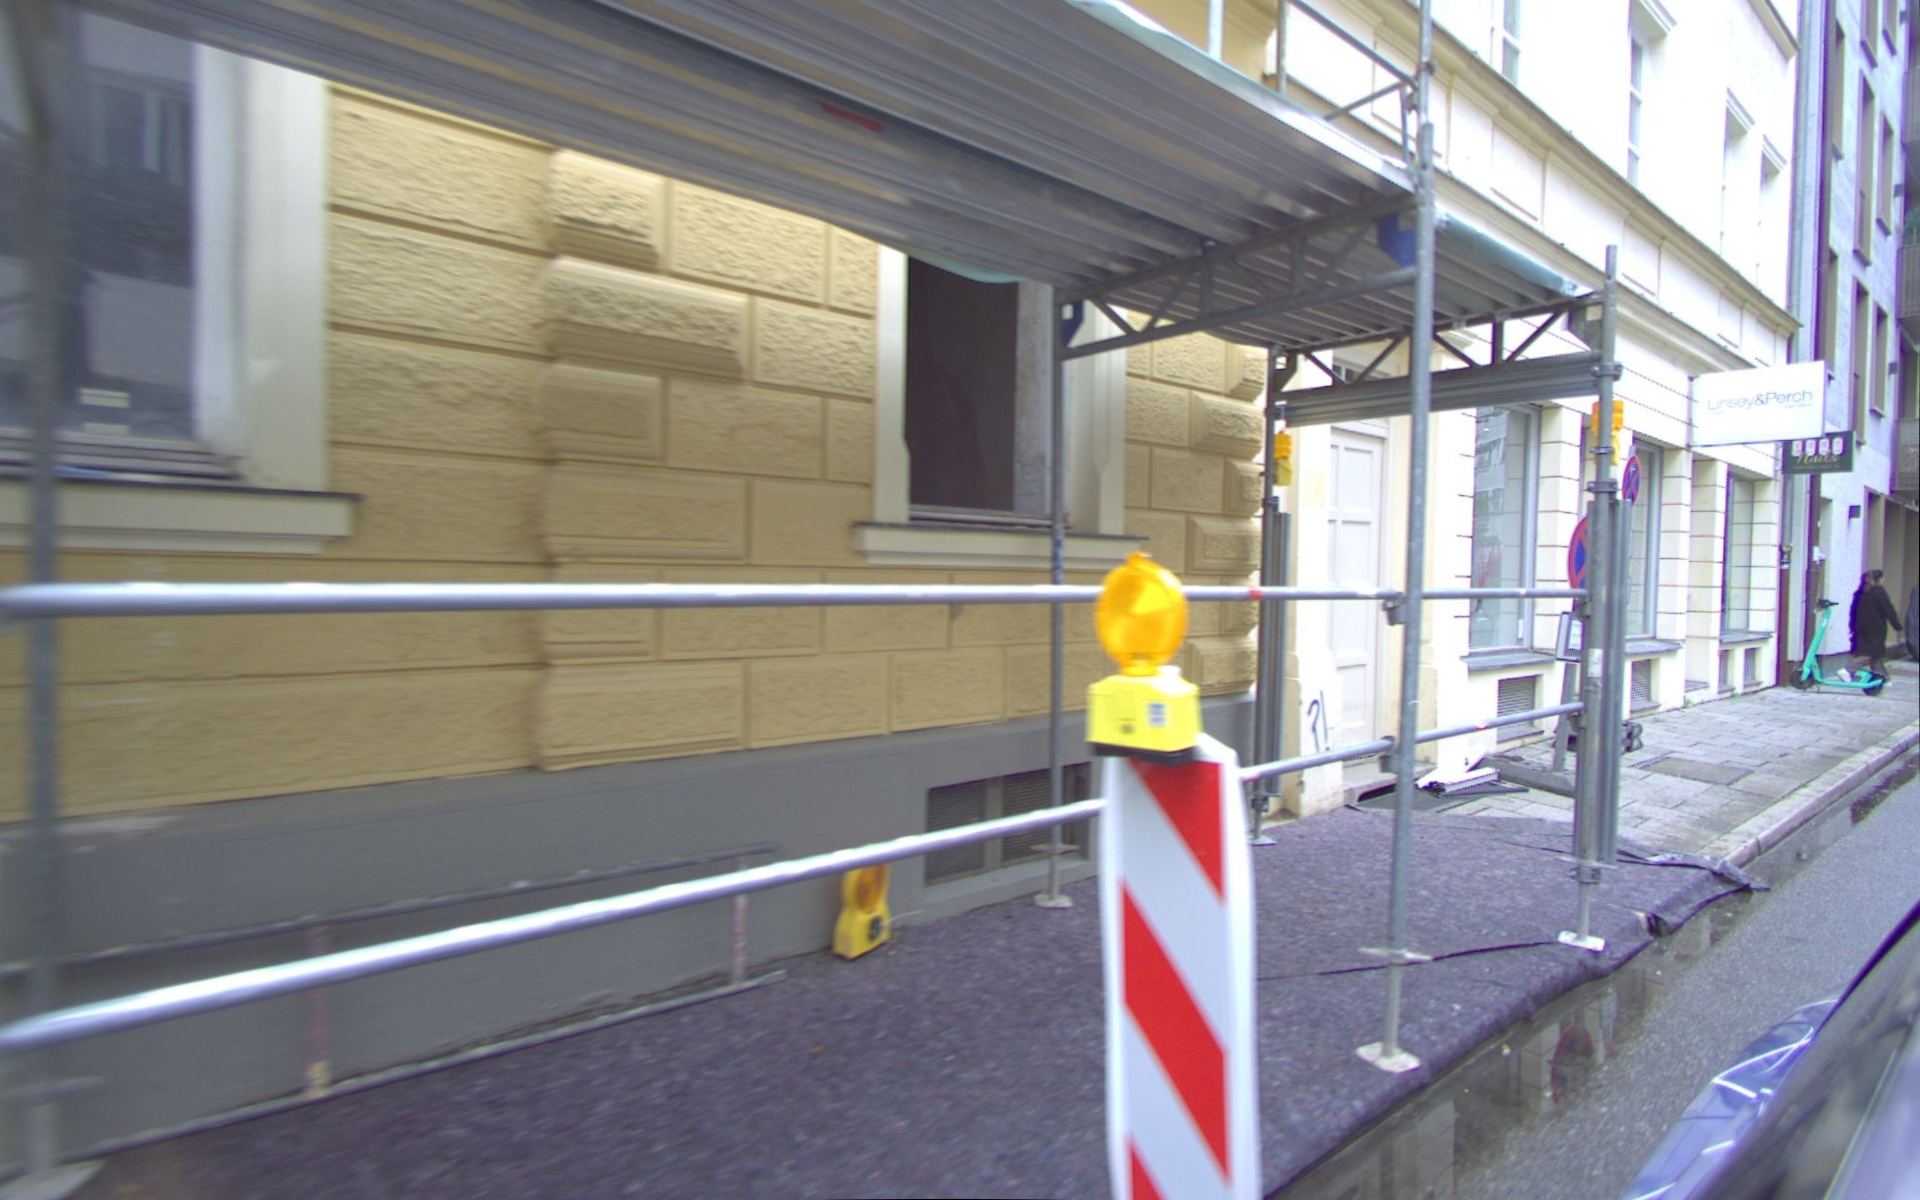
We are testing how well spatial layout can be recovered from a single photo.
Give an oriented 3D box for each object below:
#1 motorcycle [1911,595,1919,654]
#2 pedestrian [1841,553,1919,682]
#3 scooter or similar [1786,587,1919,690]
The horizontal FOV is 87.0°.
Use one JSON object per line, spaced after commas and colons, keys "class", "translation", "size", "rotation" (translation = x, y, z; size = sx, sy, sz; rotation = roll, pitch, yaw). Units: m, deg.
{"class": "motorcycle", "translation": [18.725, 0.318, 19.056], "size": [1.898, 1.439, 0.807], "rotation": [0, 7, -39]}
{"class": "pedestrian", "translation": [12.908, 0.219, 14.138], "size": [0.539, 1.706, 0.657], "rotation": [5, 5, 19]}
{"class": "scooter or similar", "translation": [11.633, 0.494, 12.966], "size": [1.578, 1.197, 0.495], "rotation": [3, 3, 1]}
